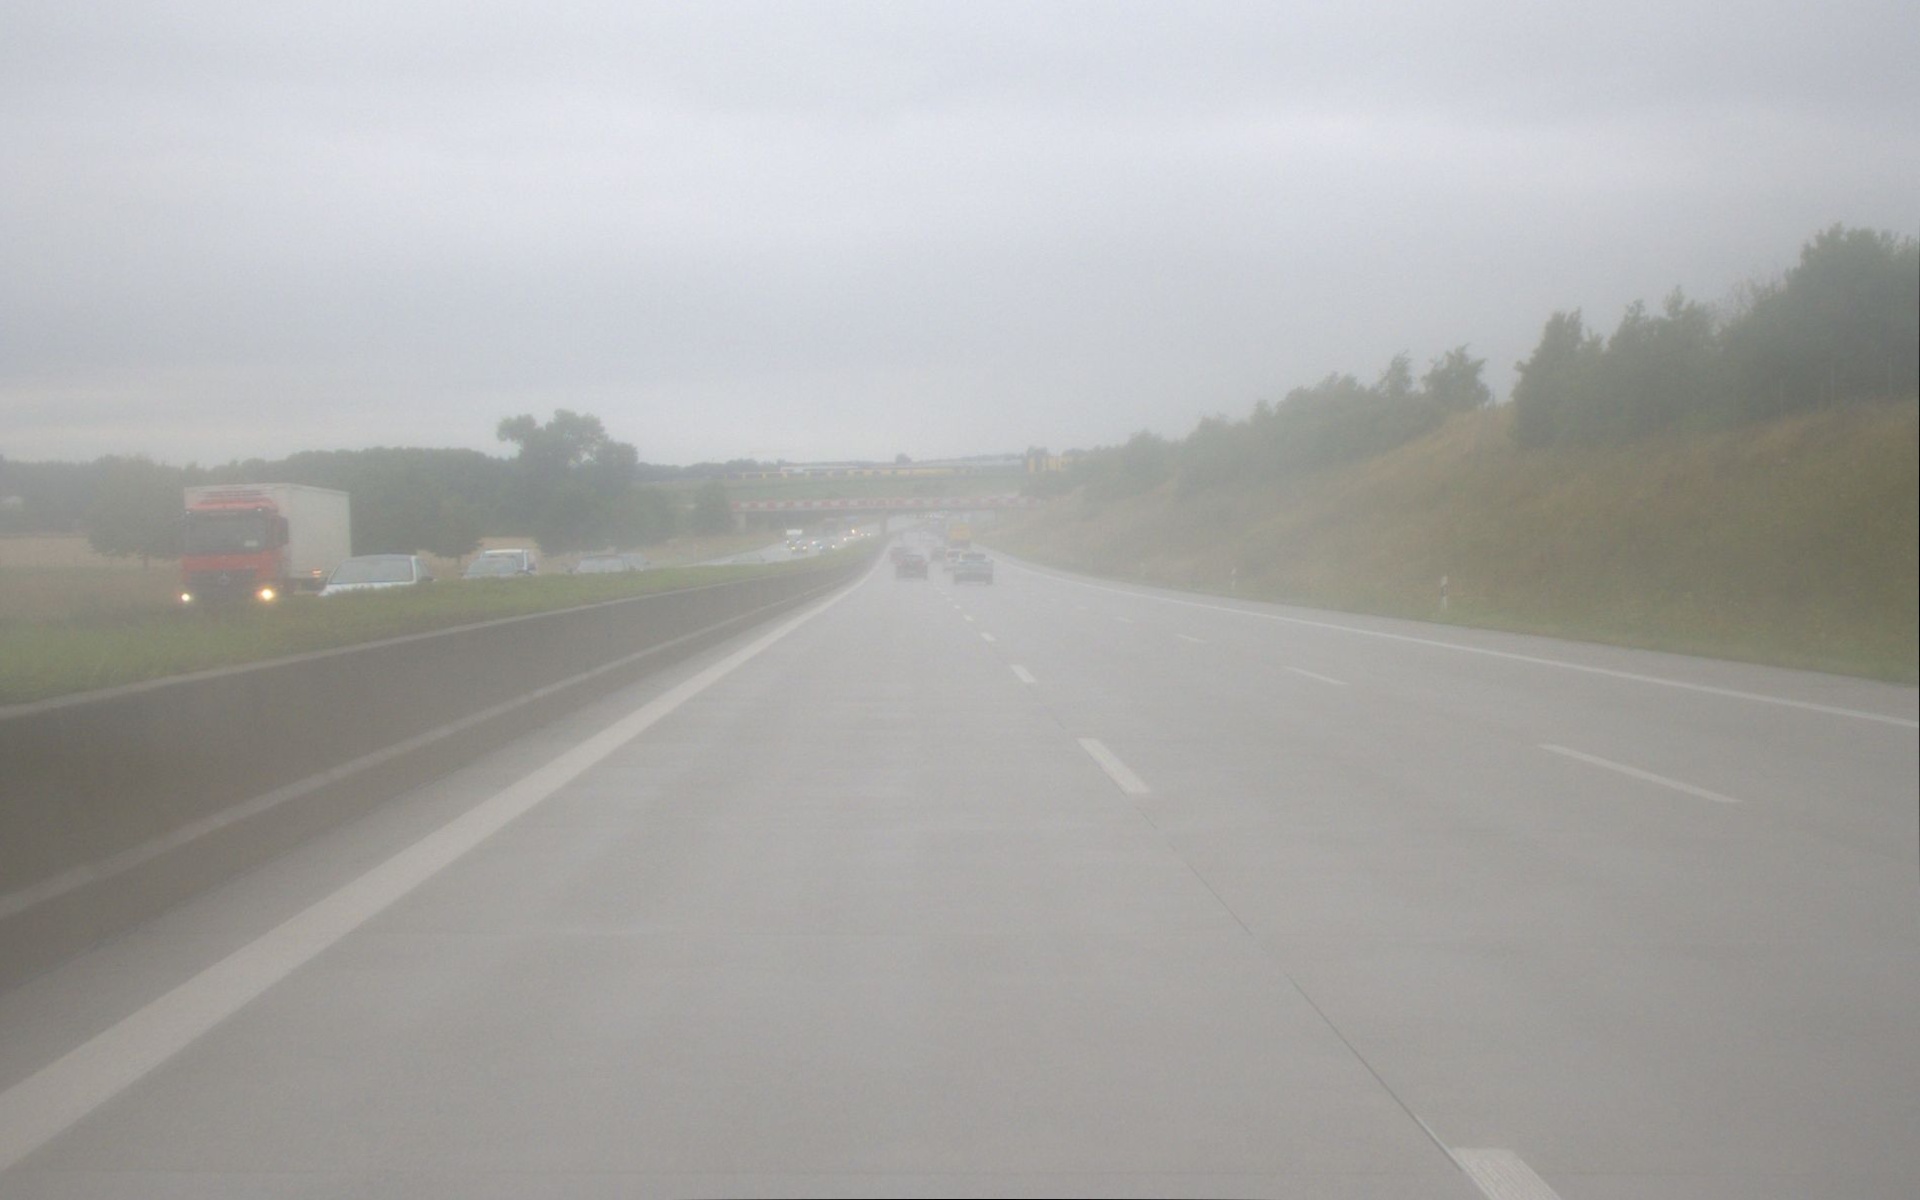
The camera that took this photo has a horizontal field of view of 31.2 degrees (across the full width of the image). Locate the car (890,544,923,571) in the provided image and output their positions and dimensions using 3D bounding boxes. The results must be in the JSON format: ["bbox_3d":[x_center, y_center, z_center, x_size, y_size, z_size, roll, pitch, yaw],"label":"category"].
[{"bbox_3d":[-2.876,-2.296,186.469,1.729,1.326,4.430,0,2,0],"label":"car"}]

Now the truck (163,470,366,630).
[{"bbox_3d":[-17.899,-1.404,89.383,2.903,3.842,12.452,-1,2,-1],"label":"truck"}]

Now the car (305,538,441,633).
[{"bbox_3d":[-10.073,-0.279,59.248,1.651,1.536,4.455,-1,1,-1],"label":"car"}]

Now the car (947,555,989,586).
[{"bbox_3d":[0.375,-1.426,166.641,1.847,1.326,4.430,0,2,-2],"label":"car"}]
